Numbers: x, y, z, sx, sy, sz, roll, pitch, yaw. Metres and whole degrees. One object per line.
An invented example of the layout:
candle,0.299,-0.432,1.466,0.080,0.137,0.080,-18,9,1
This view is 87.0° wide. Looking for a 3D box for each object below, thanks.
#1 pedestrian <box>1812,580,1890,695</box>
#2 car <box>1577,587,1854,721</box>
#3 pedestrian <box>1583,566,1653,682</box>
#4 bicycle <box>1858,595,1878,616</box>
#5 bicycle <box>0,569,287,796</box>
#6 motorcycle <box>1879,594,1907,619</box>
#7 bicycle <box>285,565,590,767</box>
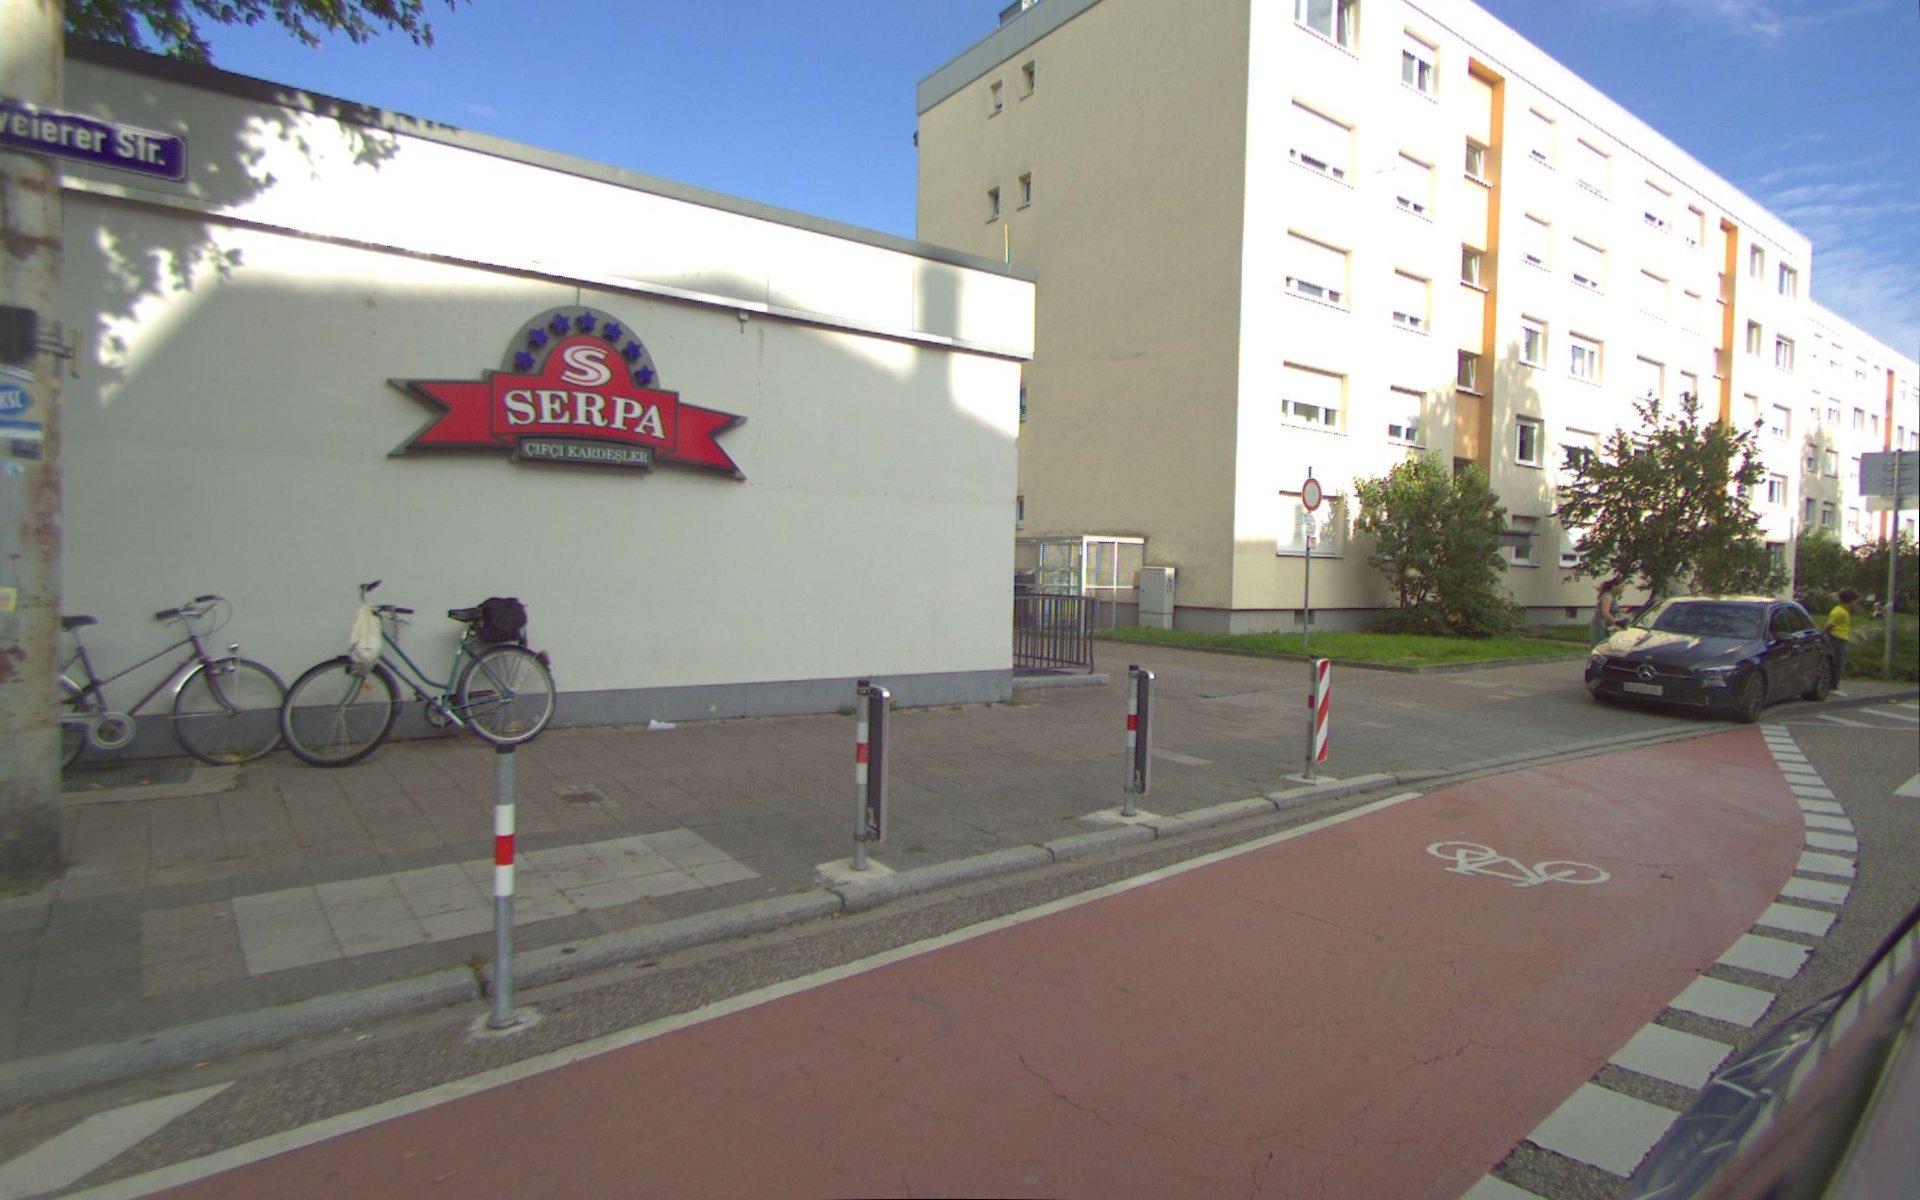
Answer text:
pedestrian,12.722,0.519,14.457,0.730,1.557,0.654,0,3,-40
car,10.106,0.605,13.447,4.154,1.429,1.767,0,3,-36
pedestrian,9.718,0.334,14.951,0.730,1.666,0.654,0,1,-40
bicycle,41.635,0.248,46.382,1.490,0.953,0.459,0,3,-41
bicycle,-5.080,0.441,6.034,1.738,1.221,0.713,0,2,-37
motorcycle,41.739,0.263,45.270,2.352,1.057,0.632,0,3,-41
bicycle,-3.624,0.398,7.079,1.782,1.220,0.771,0,3,-37
